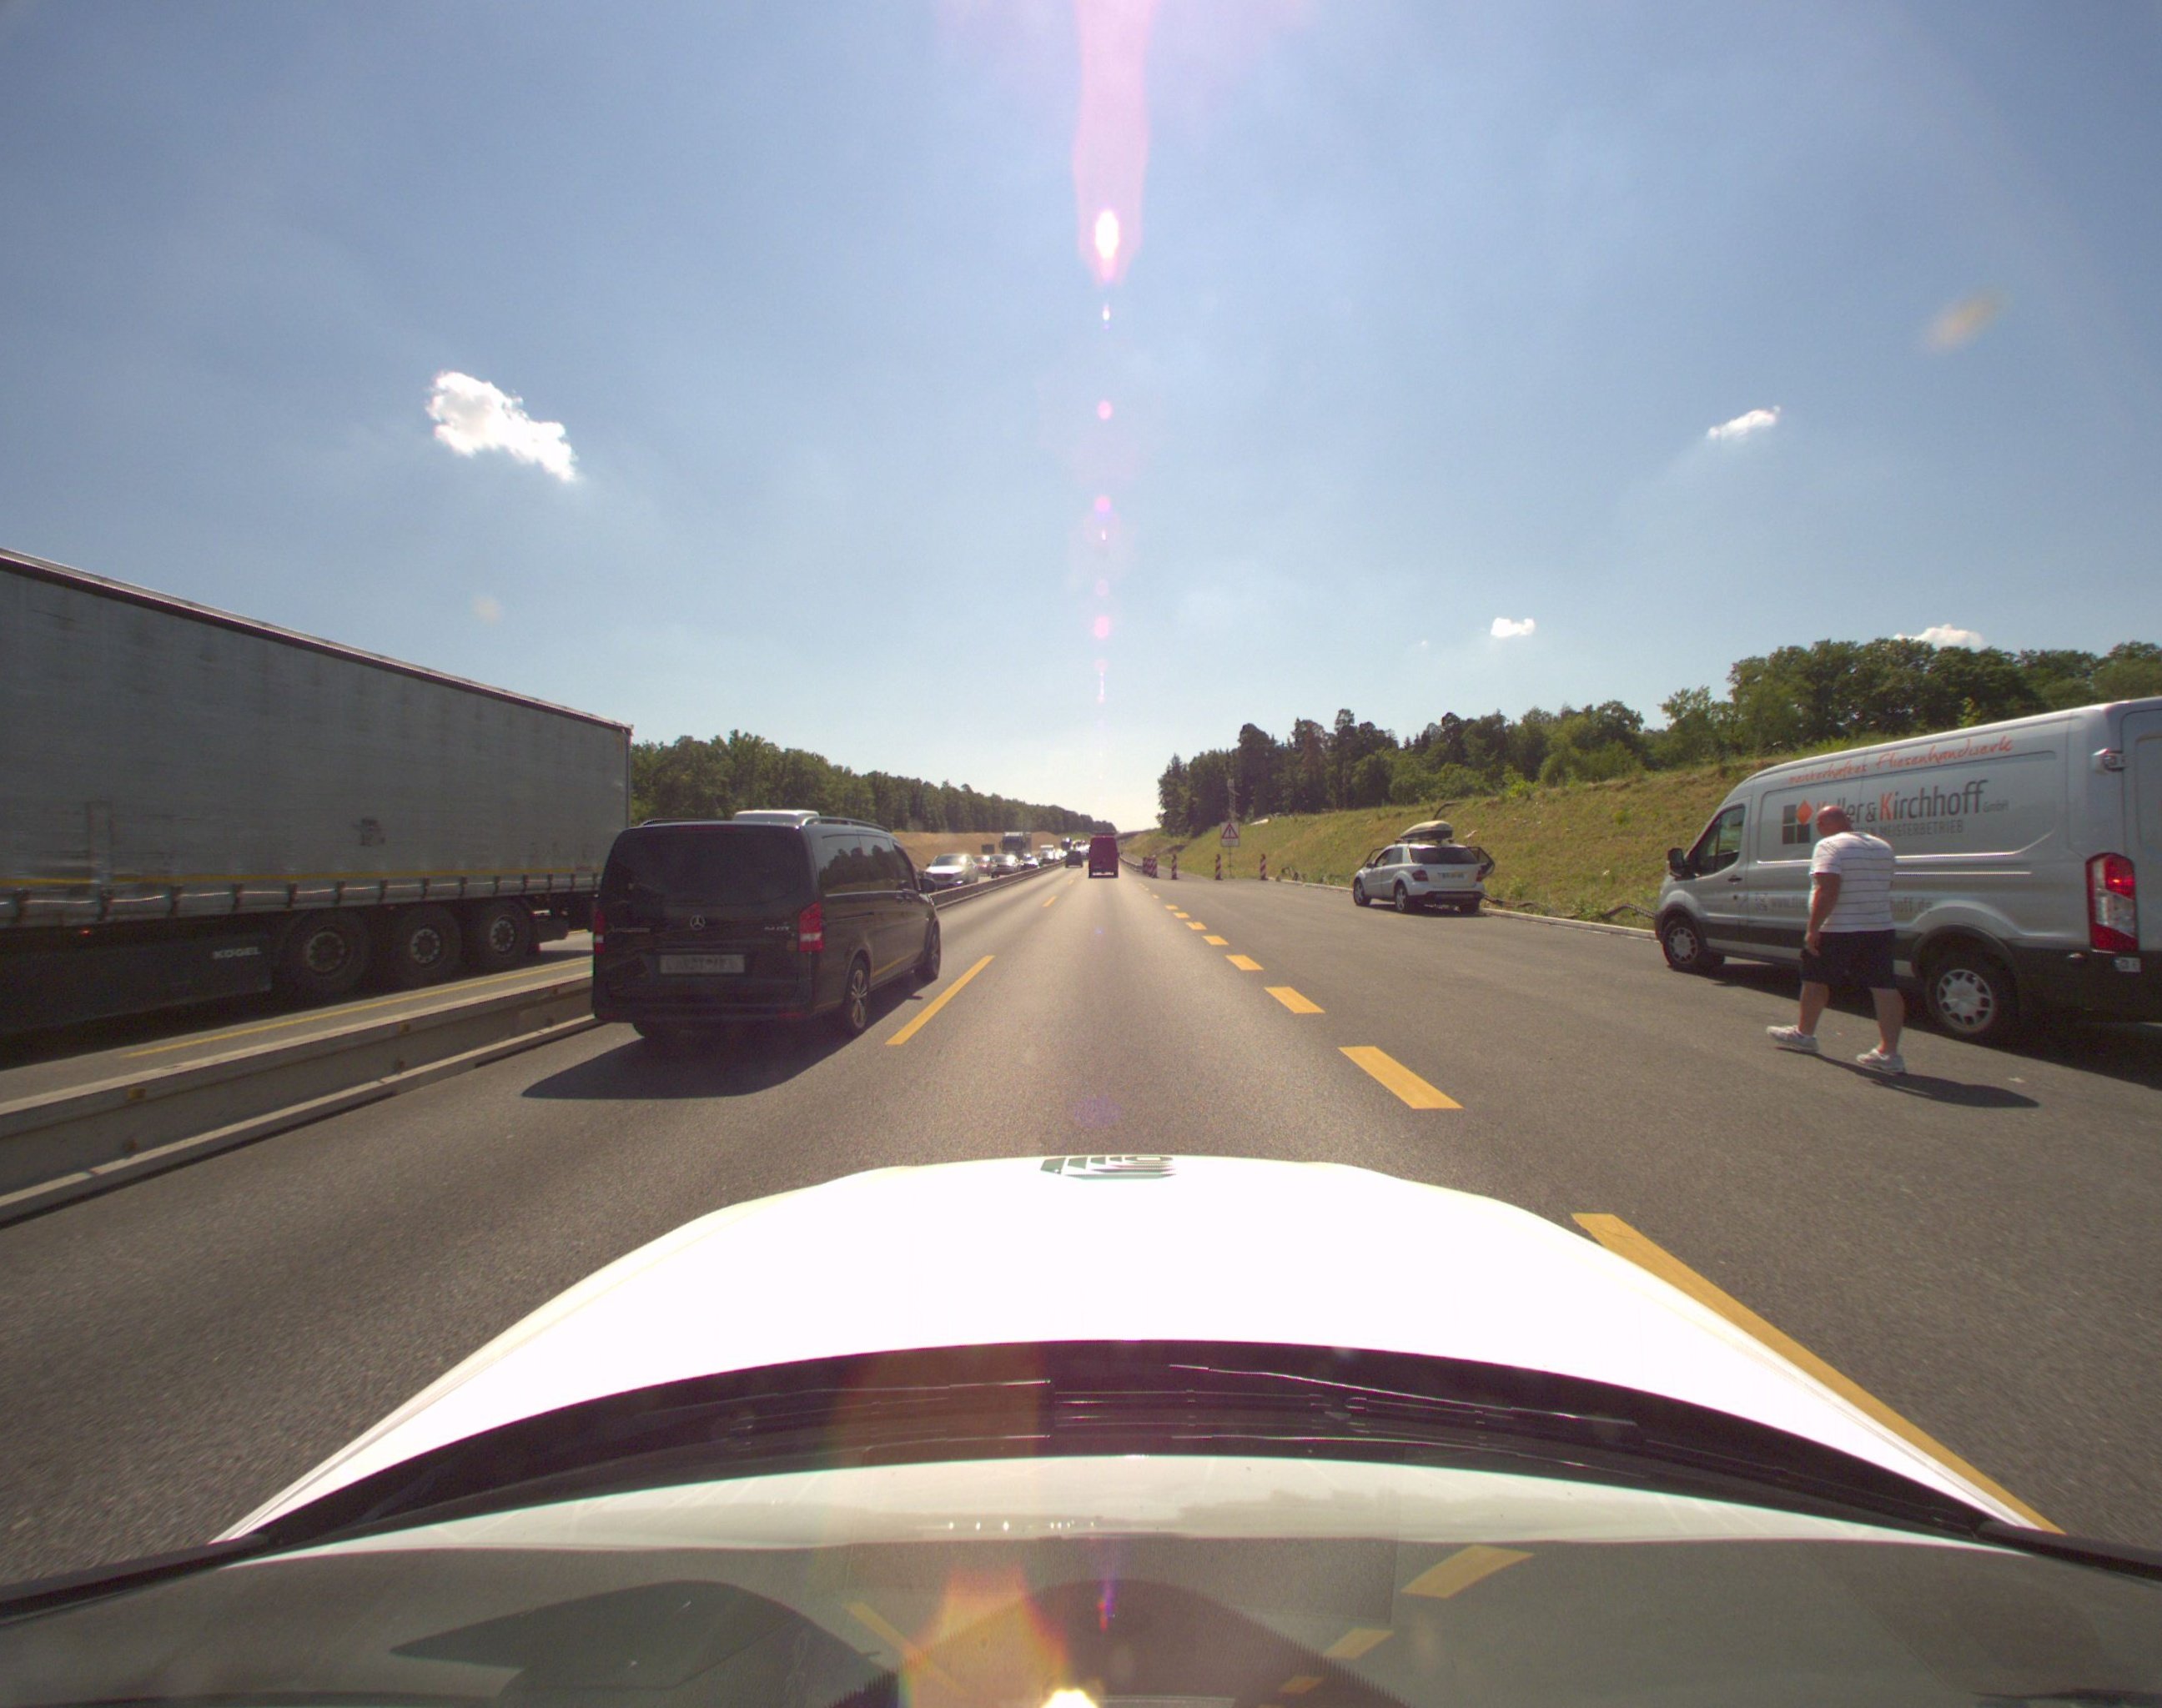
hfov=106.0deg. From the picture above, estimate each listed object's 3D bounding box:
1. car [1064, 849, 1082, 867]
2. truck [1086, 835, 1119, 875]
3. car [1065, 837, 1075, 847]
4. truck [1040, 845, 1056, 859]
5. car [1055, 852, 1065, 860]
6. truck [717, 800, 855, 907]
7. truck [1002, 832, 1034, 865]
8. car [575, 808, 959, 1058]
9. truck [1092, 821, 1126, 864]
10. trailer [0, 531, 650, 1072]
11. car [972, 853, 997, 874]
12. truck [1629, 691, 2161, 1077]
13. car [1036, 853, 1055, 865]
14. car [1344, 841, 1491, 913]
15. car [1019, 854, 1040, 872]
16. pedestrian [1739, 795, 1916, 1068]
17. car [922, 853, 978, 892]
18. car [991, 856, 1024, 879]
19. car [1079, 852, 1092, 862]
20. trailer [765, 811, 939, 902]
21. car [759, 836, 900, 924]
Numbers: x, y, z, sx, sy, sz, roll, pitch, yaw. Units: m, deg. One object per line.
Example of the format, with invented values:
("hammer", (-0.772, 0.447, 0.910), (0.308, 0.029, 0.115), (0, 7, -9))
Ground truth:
("car", (-0.821, 0.450, 86.100), (1.745, 1.824, 4.784), (0, 0, 2))
("truck", (1.466, 0.115, 54.829), (2.145, 2.590, 5.335), (0, -1, 2))
("car", (-2.892, -3.080, 211.589), (2.377, 2.580, 3.999), (0, -1, 0))
("truck", (-5.980, -0.342, 148.131), (2.390, 2.358, 5.229), (0, -1, 2))
("car", (-3.430, 0.373, 133.988), (1.458, 1.327, 3.373), (0, -1, 3))
("truck", (-9.199, 0.030, 26.004), (2.389, 3.059, 5.065), (0, -1, 2))
("truck", (-7.127, -0.532, 93.657), (2.499, 3.617, 9.645), (0, -1, 2))
("car", (-2.750, 0.609, 8.797), (1.867, 1.851, 5.480), (0, -1, 2))
("truck", (3.951, -1.472, 115.528), (4.384, 5.496, 16.607), (0, -1, 2))
("trailer", (-9.477, -0.389, 8.099), (2.780, 4.075, 13.714), (0, 0, 1))
("car", (-7.102, 0.720, 60.096), (1.371, 1.462, 3.153), (0, -1, 1))
("truck", (8.076, 0.185, 8.016), (2.117, 2.457, 5.939), (0, 0, 9))
("car", (-4.128, 0.609, 95.187), (1.834, 1.327, 3.944), (0, -1, 3))
("car", (8.723, 0.520, 21.625), (1.770, 1.677, 4.851), (0, 0, -2))
("car", (-4.659, 0.793, 74.119), (1.677, 1.596, 3.225), (0, -1, 1))
("pedestrian", (5.393, 0.525, 5.941), (0.717, 1.828, 0.724), (-1, -2, 23))
("car", (-5.694, 0.815, 35.969), (1.719, 1.630, 4.390), (0, -1, 0))
("car", (-4.929, 0.923, 55.201), (1.618, 1.557, 4.072), (0, -1, 3))
("car", (0.748, 0.436, 125.544), (1.824, 1.522, 3.962), (0, -1, 2))
("trailer", (-8.788, 0.158, 34.125), (2.337, 2.932, 15.278), (0, -1, 2))
("car", (-6.102, 0.620, 20.495), (1.819, 1.927, 5.263), (0, -1, 1))
